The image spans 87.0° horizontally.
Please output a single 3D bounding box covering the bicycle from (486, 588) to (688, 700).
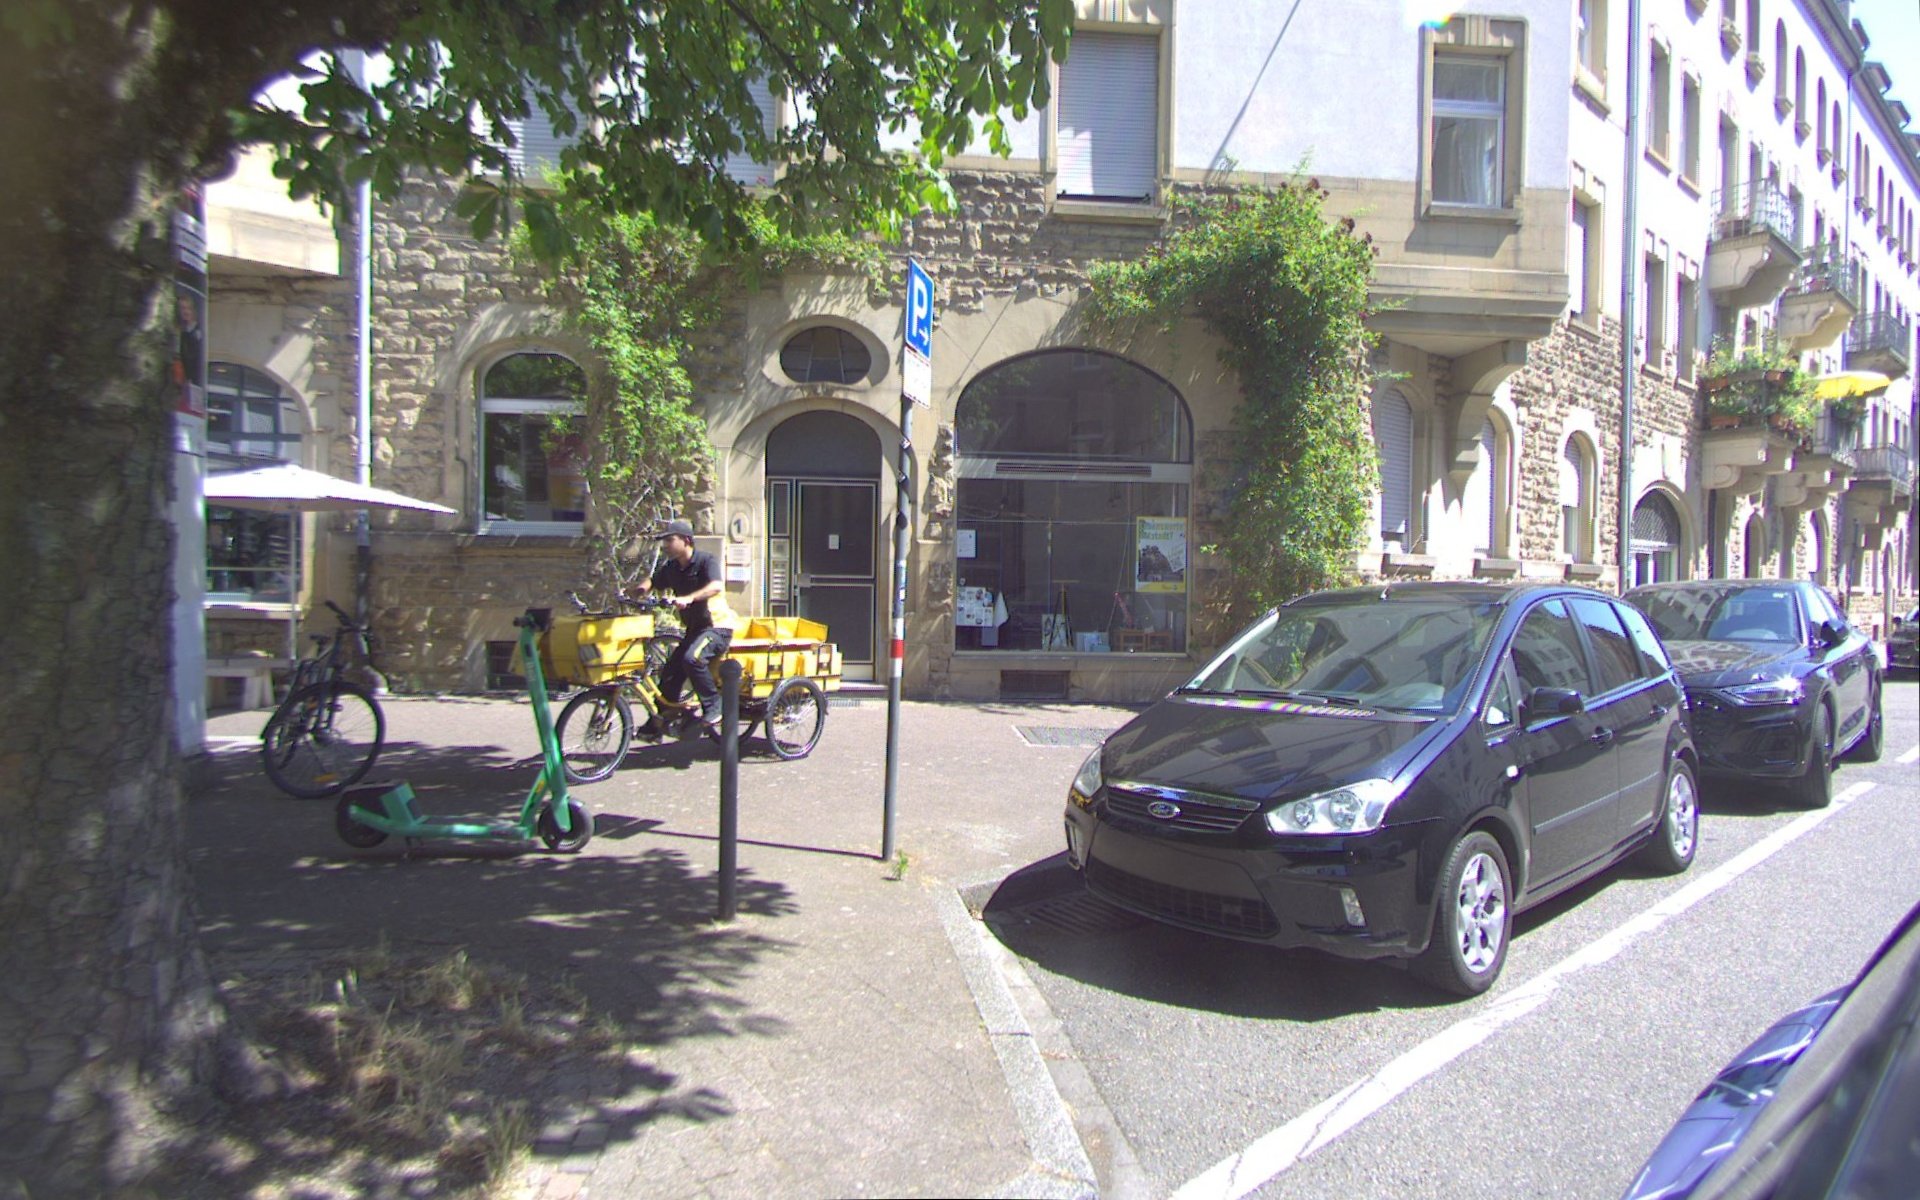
[{"bbox_3d":[-3.687,0.433,10.096,1.800,1.052,0.550,1,2,-5],"label":"bicycle"}]

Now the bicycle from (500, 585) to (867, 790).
[{"bbox_3d":[-1.845,0.502,7.220,0.793,1.183,2.542,2,2,39],"label":"bicycle"}]

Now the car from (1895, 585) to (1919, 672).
[{"bbox_3d":[19.648,0.506,19.496,4.523,1.587,1.836,0,-1,-40],"label":"car"}]

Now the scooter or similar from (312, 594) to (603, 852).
[{"bbox_3d":[-2.359,0.561,4.815,1.162,1.150,0.443,1,1,-2],"label":"scooter or similar"}]

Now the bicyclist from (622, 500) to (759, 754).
[{"bbox_3d":[-1.894,0.162,7.115,0.676,1.668,0.652,2,2,39],"label":"bicyclist"}]

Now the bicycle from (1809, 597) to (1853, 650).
[{"bbox_3d":[21.134,0.559,24.547,1.742,1.222,0.442,0,2,-37],"label":"bicycle"}]

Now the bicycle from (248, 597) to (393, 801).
[{"bbox_3d":[-4.167,0.547,6.529,0.622,1.052,1.905,0,2,-38],"label":"bicycle"}]

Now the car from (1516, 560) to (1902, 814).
[{"bbox_3d":[6.464,0.553,8.541,4.272,1.617,1.738,0,-1,-41],"label":"car"}]

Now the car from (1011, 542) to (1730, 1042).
[{"bbox_3d":[2.323,0.594,5.136,4.104,1.560,1.666,0,-1,-40],"label":"car"}]

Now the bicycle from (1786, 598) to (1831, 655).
[{"bbox_3d":[19.302,0.586,23.002,1.742,1.222,0.385,0,2,-37],"label":"bicycle"}]
